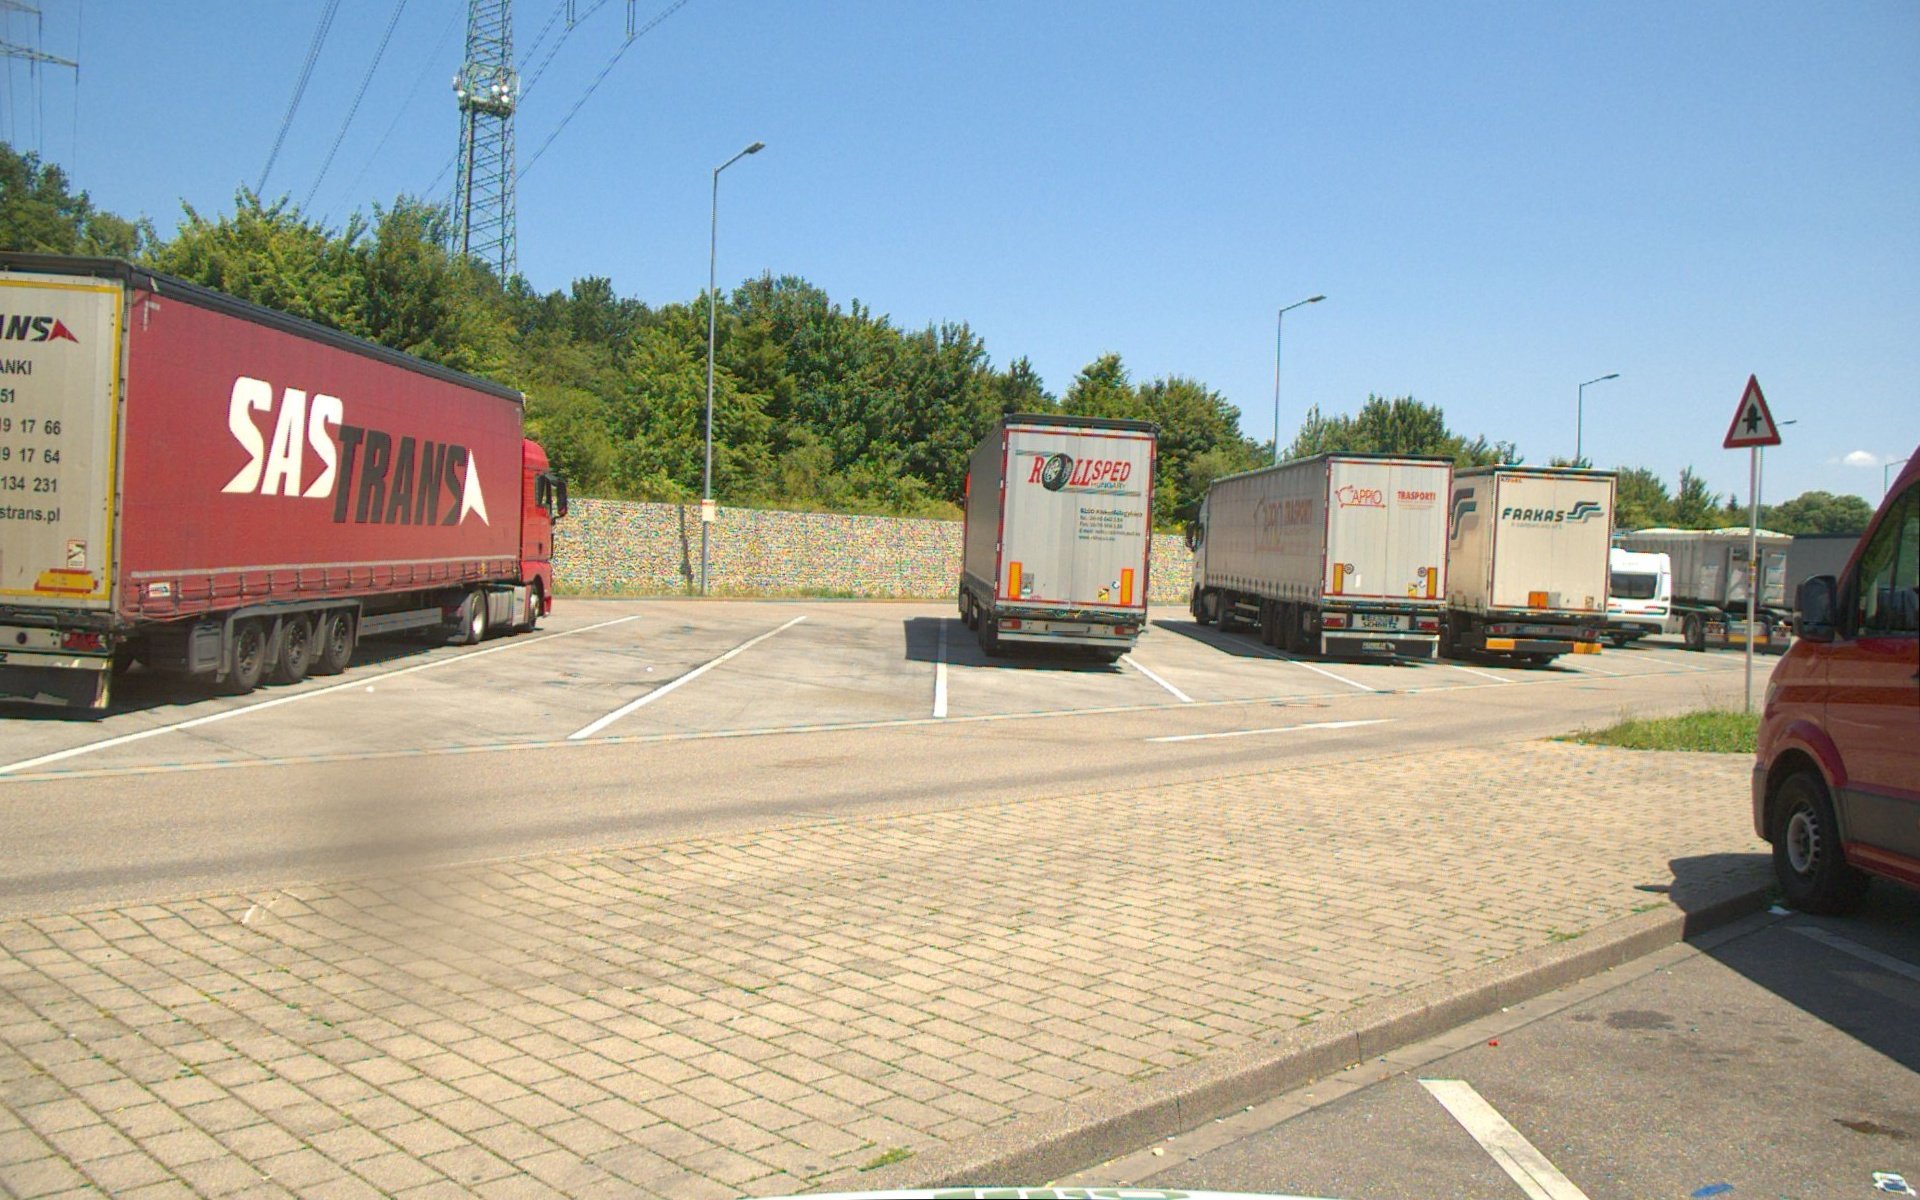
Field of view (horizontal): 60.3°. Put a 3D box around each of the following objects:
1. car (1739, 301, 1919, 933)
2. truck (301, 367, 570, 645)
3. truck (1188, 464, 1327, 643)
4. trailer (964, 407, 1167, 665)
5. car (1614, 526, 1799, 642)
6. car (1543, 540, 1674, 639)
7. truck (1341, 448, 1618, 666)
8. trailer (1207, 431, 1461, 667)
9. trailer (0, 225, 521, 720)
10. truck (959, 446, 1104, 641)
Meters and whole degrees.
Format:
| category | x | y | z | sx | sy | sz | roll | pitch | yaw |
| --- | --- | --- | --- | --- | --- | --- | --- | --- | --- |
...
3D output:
| category | x | y | z | sx | sy | sz | roll | pitch | yaw |
| --- | --- | --- | --- | --- | --- | --- | --- | --- | --- |
| car | 4.982 | 0.106 | 5.562 | 1.952 | 2.679 | 6.385 | 1 | 1 | 3 |
| truck | -8.719 | -1.493 | 28.241 | 2.749 | 4.205 | 5.893 | 1 | 1 | -1 |
| truck | 8.029 | -1.246 | 45.325 | 2.607 | 4.530 | 5.863 | 1 | 1 | -1 |
| trailer | 1.707 | -1.127 | 32.203 | 2.839 | 4.083 | 11.313 | 1 | 1 | -2 |
| car | 21.706 | -0.493 | 48.497 | 2.448 | 3.128 | 6.350 | 1 | 1 | -1 |
| car | 18.241 | -0.266 | 46.739 | 2.072 | 2.645 | 3.999 | 1 | 0 | -1 |
| truck | 11.722 | -0.833 | 38.896 | 2.534 | 4.299 | 11.967 | 1 | 0 | -1 |
| trailer | 8.180 | -1.097 | 38.364 | 2.627 | 4.530 | 12.826 | 1 | 1 | -1 |
| trailer | -8.632 | -1.239 | 20.986 | 2.743 | 4.293 | 13.200 | 1 | 1 | -1 |
| truck | 1.507 | -1.247 | 37.771 | 2.814 | 4.050 | 6.027 | 1 | 1 | -2 |
